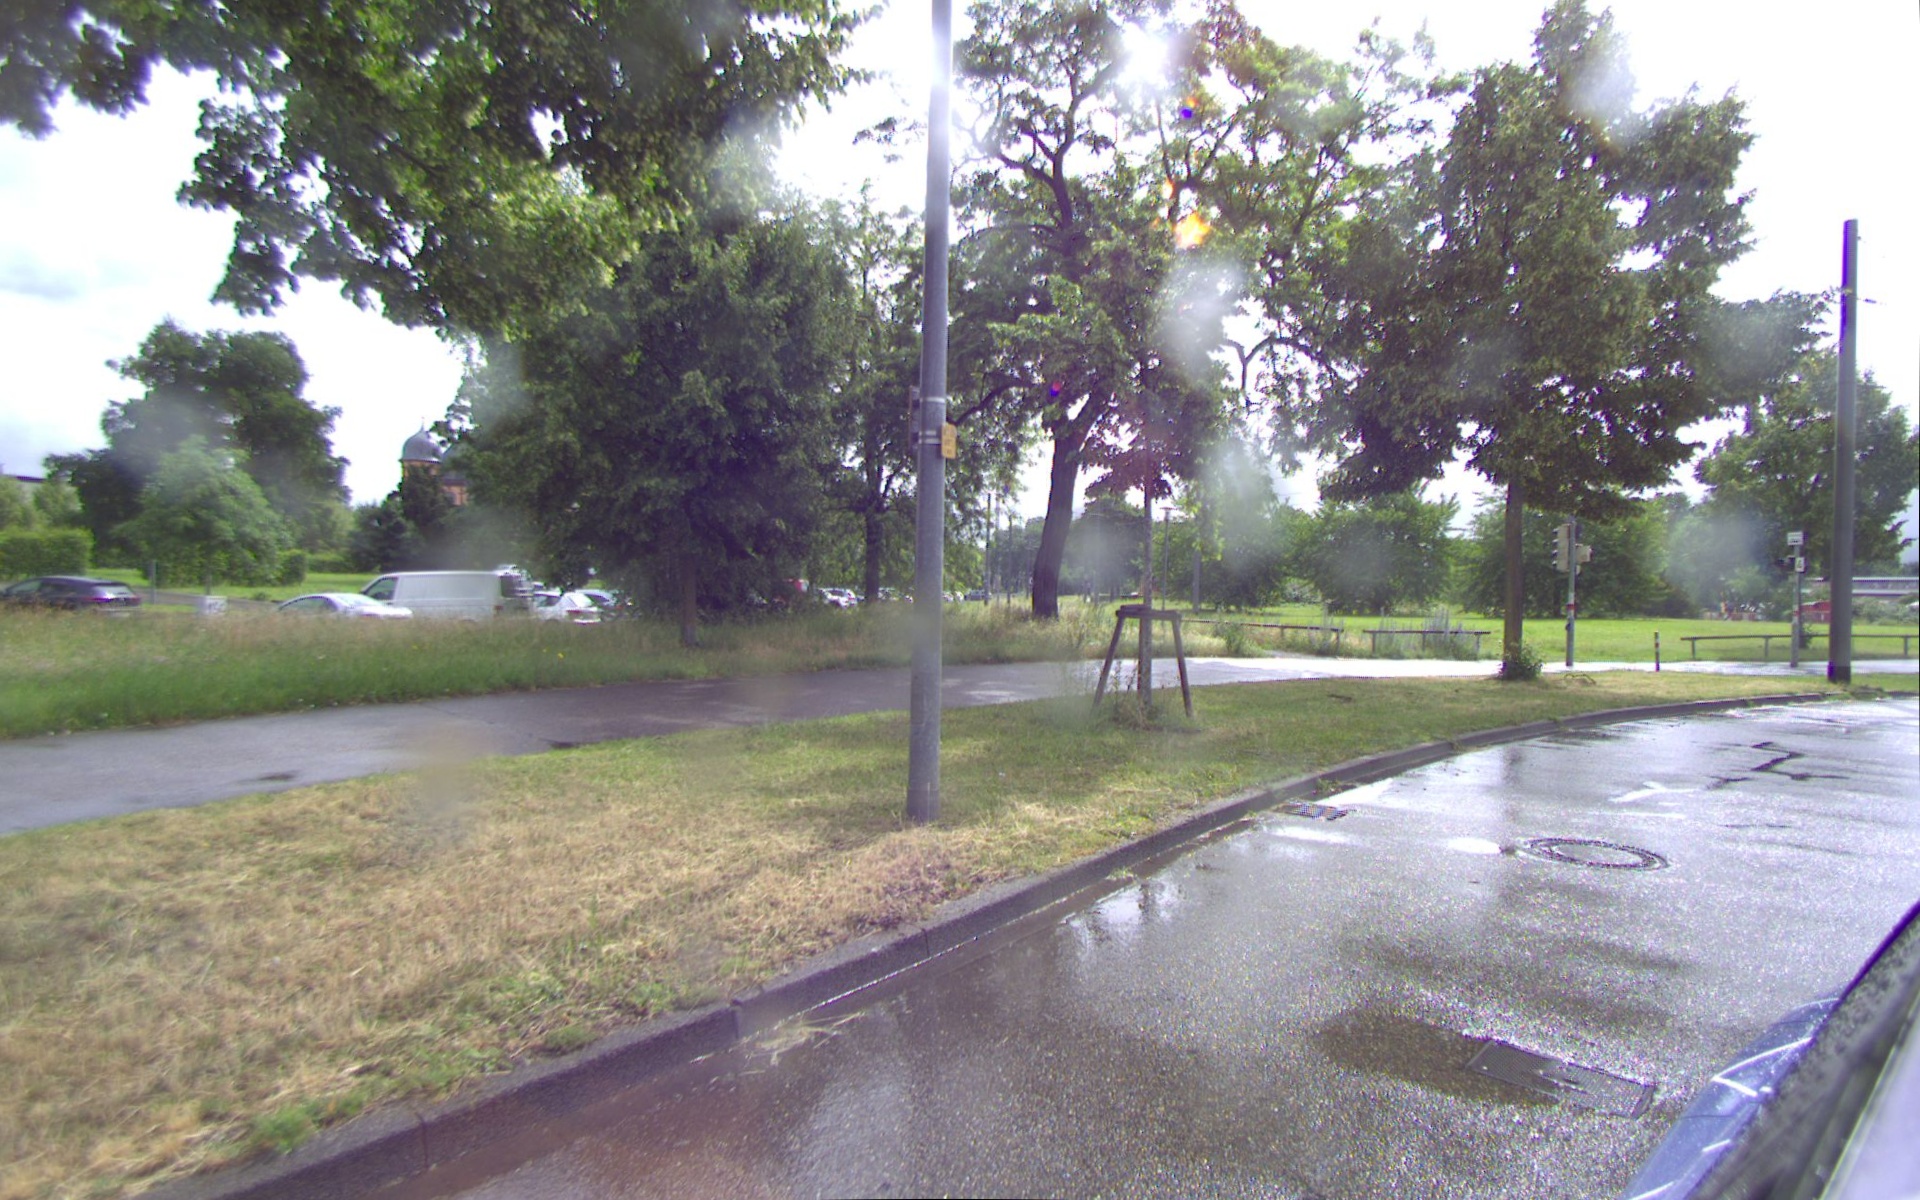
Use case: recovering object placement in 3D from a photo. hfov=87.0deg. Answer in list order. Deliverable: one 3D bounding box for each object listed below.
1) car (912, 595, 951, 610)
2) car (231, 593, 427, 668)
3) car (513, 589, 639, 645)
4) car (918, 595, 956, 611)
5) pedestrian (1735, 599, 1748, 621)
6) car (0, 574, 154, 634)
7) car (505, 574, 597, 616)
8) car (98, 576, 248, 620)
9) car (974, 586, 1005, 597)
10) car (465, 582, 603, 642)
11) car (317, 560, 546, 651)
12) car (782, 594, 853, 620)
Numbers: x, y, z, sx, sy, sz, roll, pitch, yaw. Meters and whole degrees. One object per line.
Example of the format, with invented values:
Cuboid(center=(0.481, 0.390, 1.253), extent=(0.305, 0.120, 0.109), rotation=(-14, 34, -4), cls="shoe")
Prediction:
Cuboid(center=(-3.005, 0.256, 107.749), extent=(3.912, 1.579, 1.846), rotation=(1, 0, 8), cls="car")
Cuboid(center=(-13.961, 0.639, 22.450), extent=(3.563, 1.529, 1.603), rotation=(1, 0, 11), cls="car")
Cuboid(center=(-12.271, 0.515, 32.432), extent=(3.546, 1.684, 1.523), rotation=(1, 0, 14), cls="car")
Cuboid(center=(-2.509, 0.321, 109.832), extent=(3.912, 1.579, 1.846), rotation=(1, 0, 8), cls="car")
Cuboid(center=(62.148, 0.794, 80.463), extent=(0.593, 1.754, 0.600), rotation=(2, -2, -9), cls="pedestrian")
Cuboid(center=(-24.445, 0.095, 27.779), extent=(3.523, 1.362, 1.659), rotation=(4, 1, 10), cls="car")
Cuboid(center=(-21.444, -0.233, 53.113), extent=(3.929, 2.039, 1.997), rotation=(2, -2, 5), cls="car")
Cuboid(center=(-24.085, -0.071, 31.023), extent=(3.522, 1.252, 1.659), rotation=(1, 0, 9), cls="car")
Cuboid(center=(4.343, -1.248, 147.174), extent=(4.330, 1.579, 1.846), rotation=(1, 0, 8), cls="car")
Cuboid(center=(-12.548, 0.326, 29.860), extent=(3.546, 1.684, 1.523), rotation=(1, 0, 14), cls="car")
Cuboid(center=(-13.622, 0.096, 26.176), extent=(5.081, 2.083, 2.106), rotation=(2, 1, 12), cls="car")
Cuboid(center=(-8.631, 0.405, 61.476), extent=(3.933, 1.547, 1.795), rotation=(1, 0, 8), cls="car")
